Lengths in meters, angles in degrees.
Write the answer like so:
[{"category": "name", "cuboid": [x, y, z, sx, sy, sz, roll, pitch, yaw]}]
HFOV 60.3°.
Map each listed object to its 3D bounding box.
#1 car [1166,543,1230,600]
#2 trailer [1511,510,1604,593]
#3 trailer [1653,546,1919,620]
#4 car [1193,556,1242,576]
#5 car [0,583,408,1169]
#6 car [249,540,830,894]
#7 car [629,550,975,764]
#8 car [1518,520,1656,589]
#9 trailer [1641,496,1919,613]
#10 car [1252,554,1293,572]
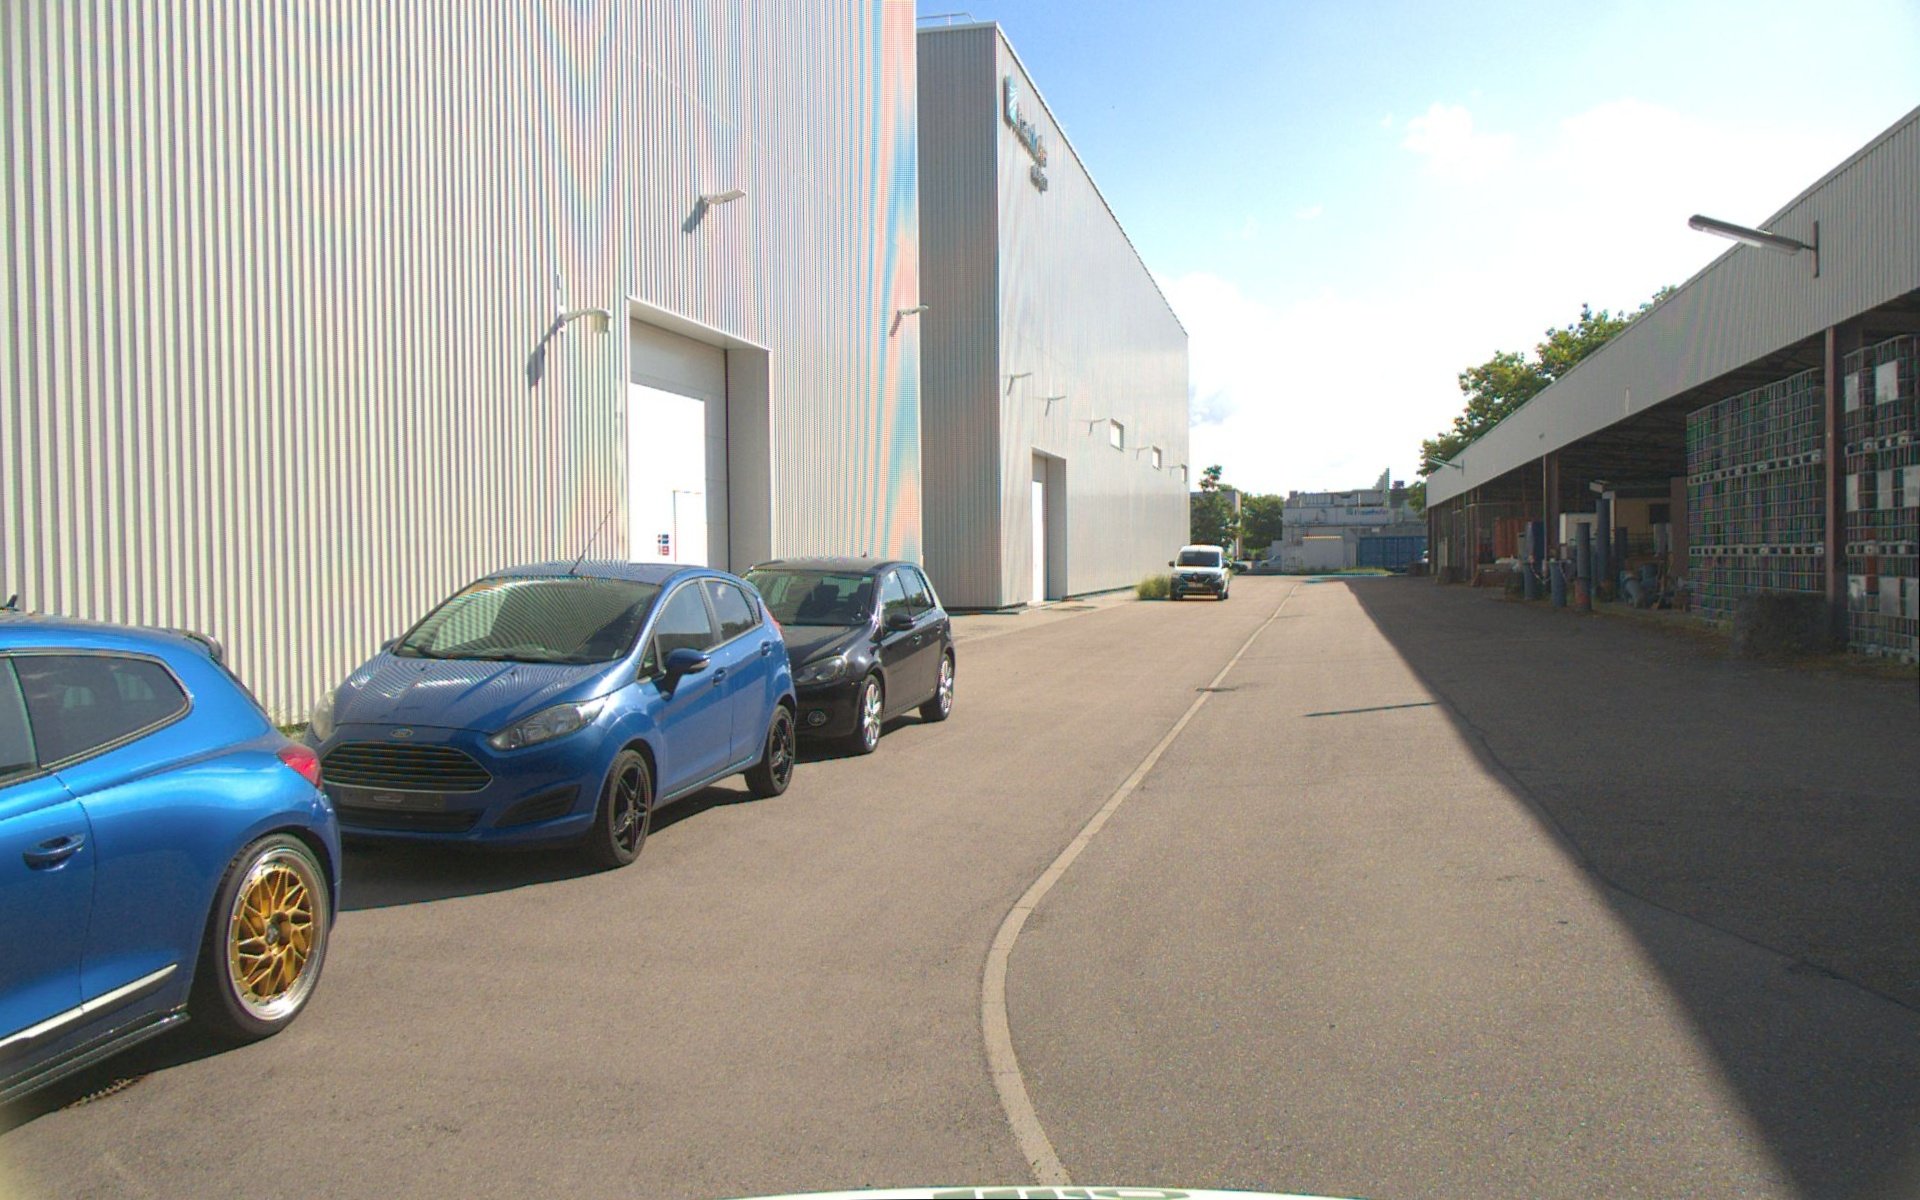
[{"category": "car", "cuboid": [8.092, -1.003, 56.067, 1.780, 1.818, 4.409, 1, 2, 13]}, {"category": "trailer", "cuboid": [18.121, -1.451, 50.249, 2.469, 2.440, 1.728, -1, 0, 13]}, {"category": "trailer", "cuboid": [15.385, -0.331, 28.857, 5.722, 1.153, 2.144, -1, 1, 11]}, {"category": "car", "cuboid": [21.418, -2.827, 137.406, 3.902, 1.626, 1.743, 1, 0, 11]}, {"category": "car", "cuboid": [-3.203, 0.685, 4.019, 1.736, 1.384, 4.057, 0, 1, 11]}, {"category": "car", "cuboid": [-2.083, 0.460, 9.468, 1.596, 1.526, 4.099, 2, 2, 11]}, {"category": "car", "cuboid": [-1.167, 0.356, 14.283, 1.717, 1.526, 4.298, 1, 2, 12]}, {"category": "car", "cuboid": [22.064, -1.594, 58.375, 4.338, 2.350, 1.917, 1, -1, 13]}, {"category": "trailer", "cuboid": [16.348, -0.873, 31.922, 5.643, 2.067, 2.080, -1, 1, 14]}, {"category": "car", "cuboid": [30.983, -3.654, 163.848, 3.902, 1.626, 1.850, 1, 0, 11]}]
